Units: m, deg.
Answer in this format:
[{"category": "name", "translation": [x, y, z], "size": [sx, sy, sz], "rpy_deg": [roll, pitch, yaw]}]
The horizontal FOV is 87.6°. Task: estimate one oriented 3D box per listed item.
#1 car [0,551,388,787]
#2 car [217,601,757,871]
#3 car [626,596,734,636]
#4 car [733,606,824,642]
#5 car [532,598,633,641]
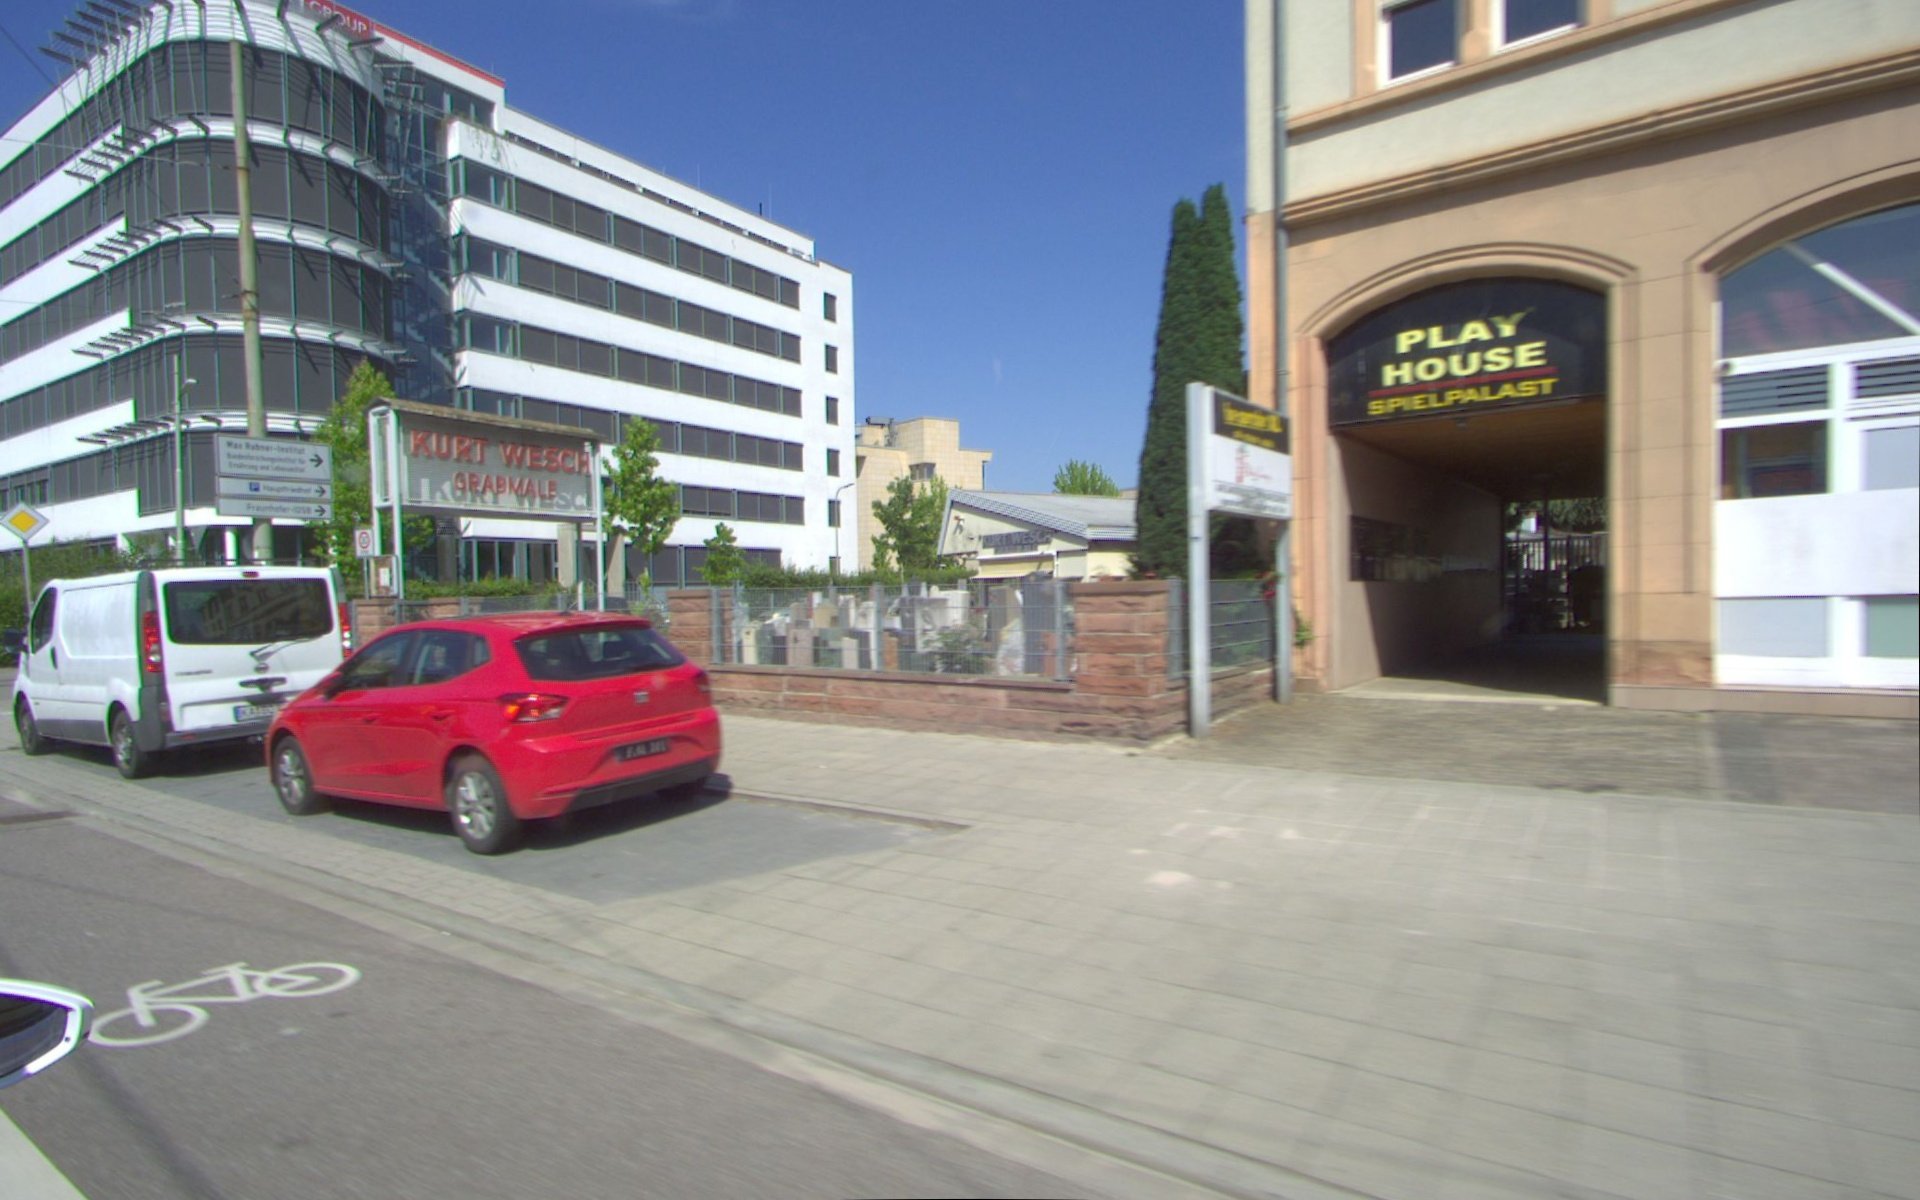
[{"category": "car", "translation": [-8.680, 0.607, 11.049], "size": [5.119, 2.083, 1.970], "rpy_deg": [-1, 2, 34]}, {"category": "car", "translation": [-3.701, 0.803, 7.580], "size": [4.253, 1.463, 1.716], "rpy_deg": [-1, 2, 34]}, {"category": "car", "translation": [-10.898, 0.595, 39.255], "size": [1.635, 1.445, 3.976], "rpy_deg": [0, 0, 34]}, {"category": "car", "translation": [-7.945, 1.025, 44.069], "size": [1.635, 1.445, 3.976], "rpy_deg": [0, 0, 34]}, {"category": "car", "translation": [-13.274, 0.650, 35.316], "size": [1.635, 1.430, 2.898], "rpy_deg": [0, 0, 34]}]
